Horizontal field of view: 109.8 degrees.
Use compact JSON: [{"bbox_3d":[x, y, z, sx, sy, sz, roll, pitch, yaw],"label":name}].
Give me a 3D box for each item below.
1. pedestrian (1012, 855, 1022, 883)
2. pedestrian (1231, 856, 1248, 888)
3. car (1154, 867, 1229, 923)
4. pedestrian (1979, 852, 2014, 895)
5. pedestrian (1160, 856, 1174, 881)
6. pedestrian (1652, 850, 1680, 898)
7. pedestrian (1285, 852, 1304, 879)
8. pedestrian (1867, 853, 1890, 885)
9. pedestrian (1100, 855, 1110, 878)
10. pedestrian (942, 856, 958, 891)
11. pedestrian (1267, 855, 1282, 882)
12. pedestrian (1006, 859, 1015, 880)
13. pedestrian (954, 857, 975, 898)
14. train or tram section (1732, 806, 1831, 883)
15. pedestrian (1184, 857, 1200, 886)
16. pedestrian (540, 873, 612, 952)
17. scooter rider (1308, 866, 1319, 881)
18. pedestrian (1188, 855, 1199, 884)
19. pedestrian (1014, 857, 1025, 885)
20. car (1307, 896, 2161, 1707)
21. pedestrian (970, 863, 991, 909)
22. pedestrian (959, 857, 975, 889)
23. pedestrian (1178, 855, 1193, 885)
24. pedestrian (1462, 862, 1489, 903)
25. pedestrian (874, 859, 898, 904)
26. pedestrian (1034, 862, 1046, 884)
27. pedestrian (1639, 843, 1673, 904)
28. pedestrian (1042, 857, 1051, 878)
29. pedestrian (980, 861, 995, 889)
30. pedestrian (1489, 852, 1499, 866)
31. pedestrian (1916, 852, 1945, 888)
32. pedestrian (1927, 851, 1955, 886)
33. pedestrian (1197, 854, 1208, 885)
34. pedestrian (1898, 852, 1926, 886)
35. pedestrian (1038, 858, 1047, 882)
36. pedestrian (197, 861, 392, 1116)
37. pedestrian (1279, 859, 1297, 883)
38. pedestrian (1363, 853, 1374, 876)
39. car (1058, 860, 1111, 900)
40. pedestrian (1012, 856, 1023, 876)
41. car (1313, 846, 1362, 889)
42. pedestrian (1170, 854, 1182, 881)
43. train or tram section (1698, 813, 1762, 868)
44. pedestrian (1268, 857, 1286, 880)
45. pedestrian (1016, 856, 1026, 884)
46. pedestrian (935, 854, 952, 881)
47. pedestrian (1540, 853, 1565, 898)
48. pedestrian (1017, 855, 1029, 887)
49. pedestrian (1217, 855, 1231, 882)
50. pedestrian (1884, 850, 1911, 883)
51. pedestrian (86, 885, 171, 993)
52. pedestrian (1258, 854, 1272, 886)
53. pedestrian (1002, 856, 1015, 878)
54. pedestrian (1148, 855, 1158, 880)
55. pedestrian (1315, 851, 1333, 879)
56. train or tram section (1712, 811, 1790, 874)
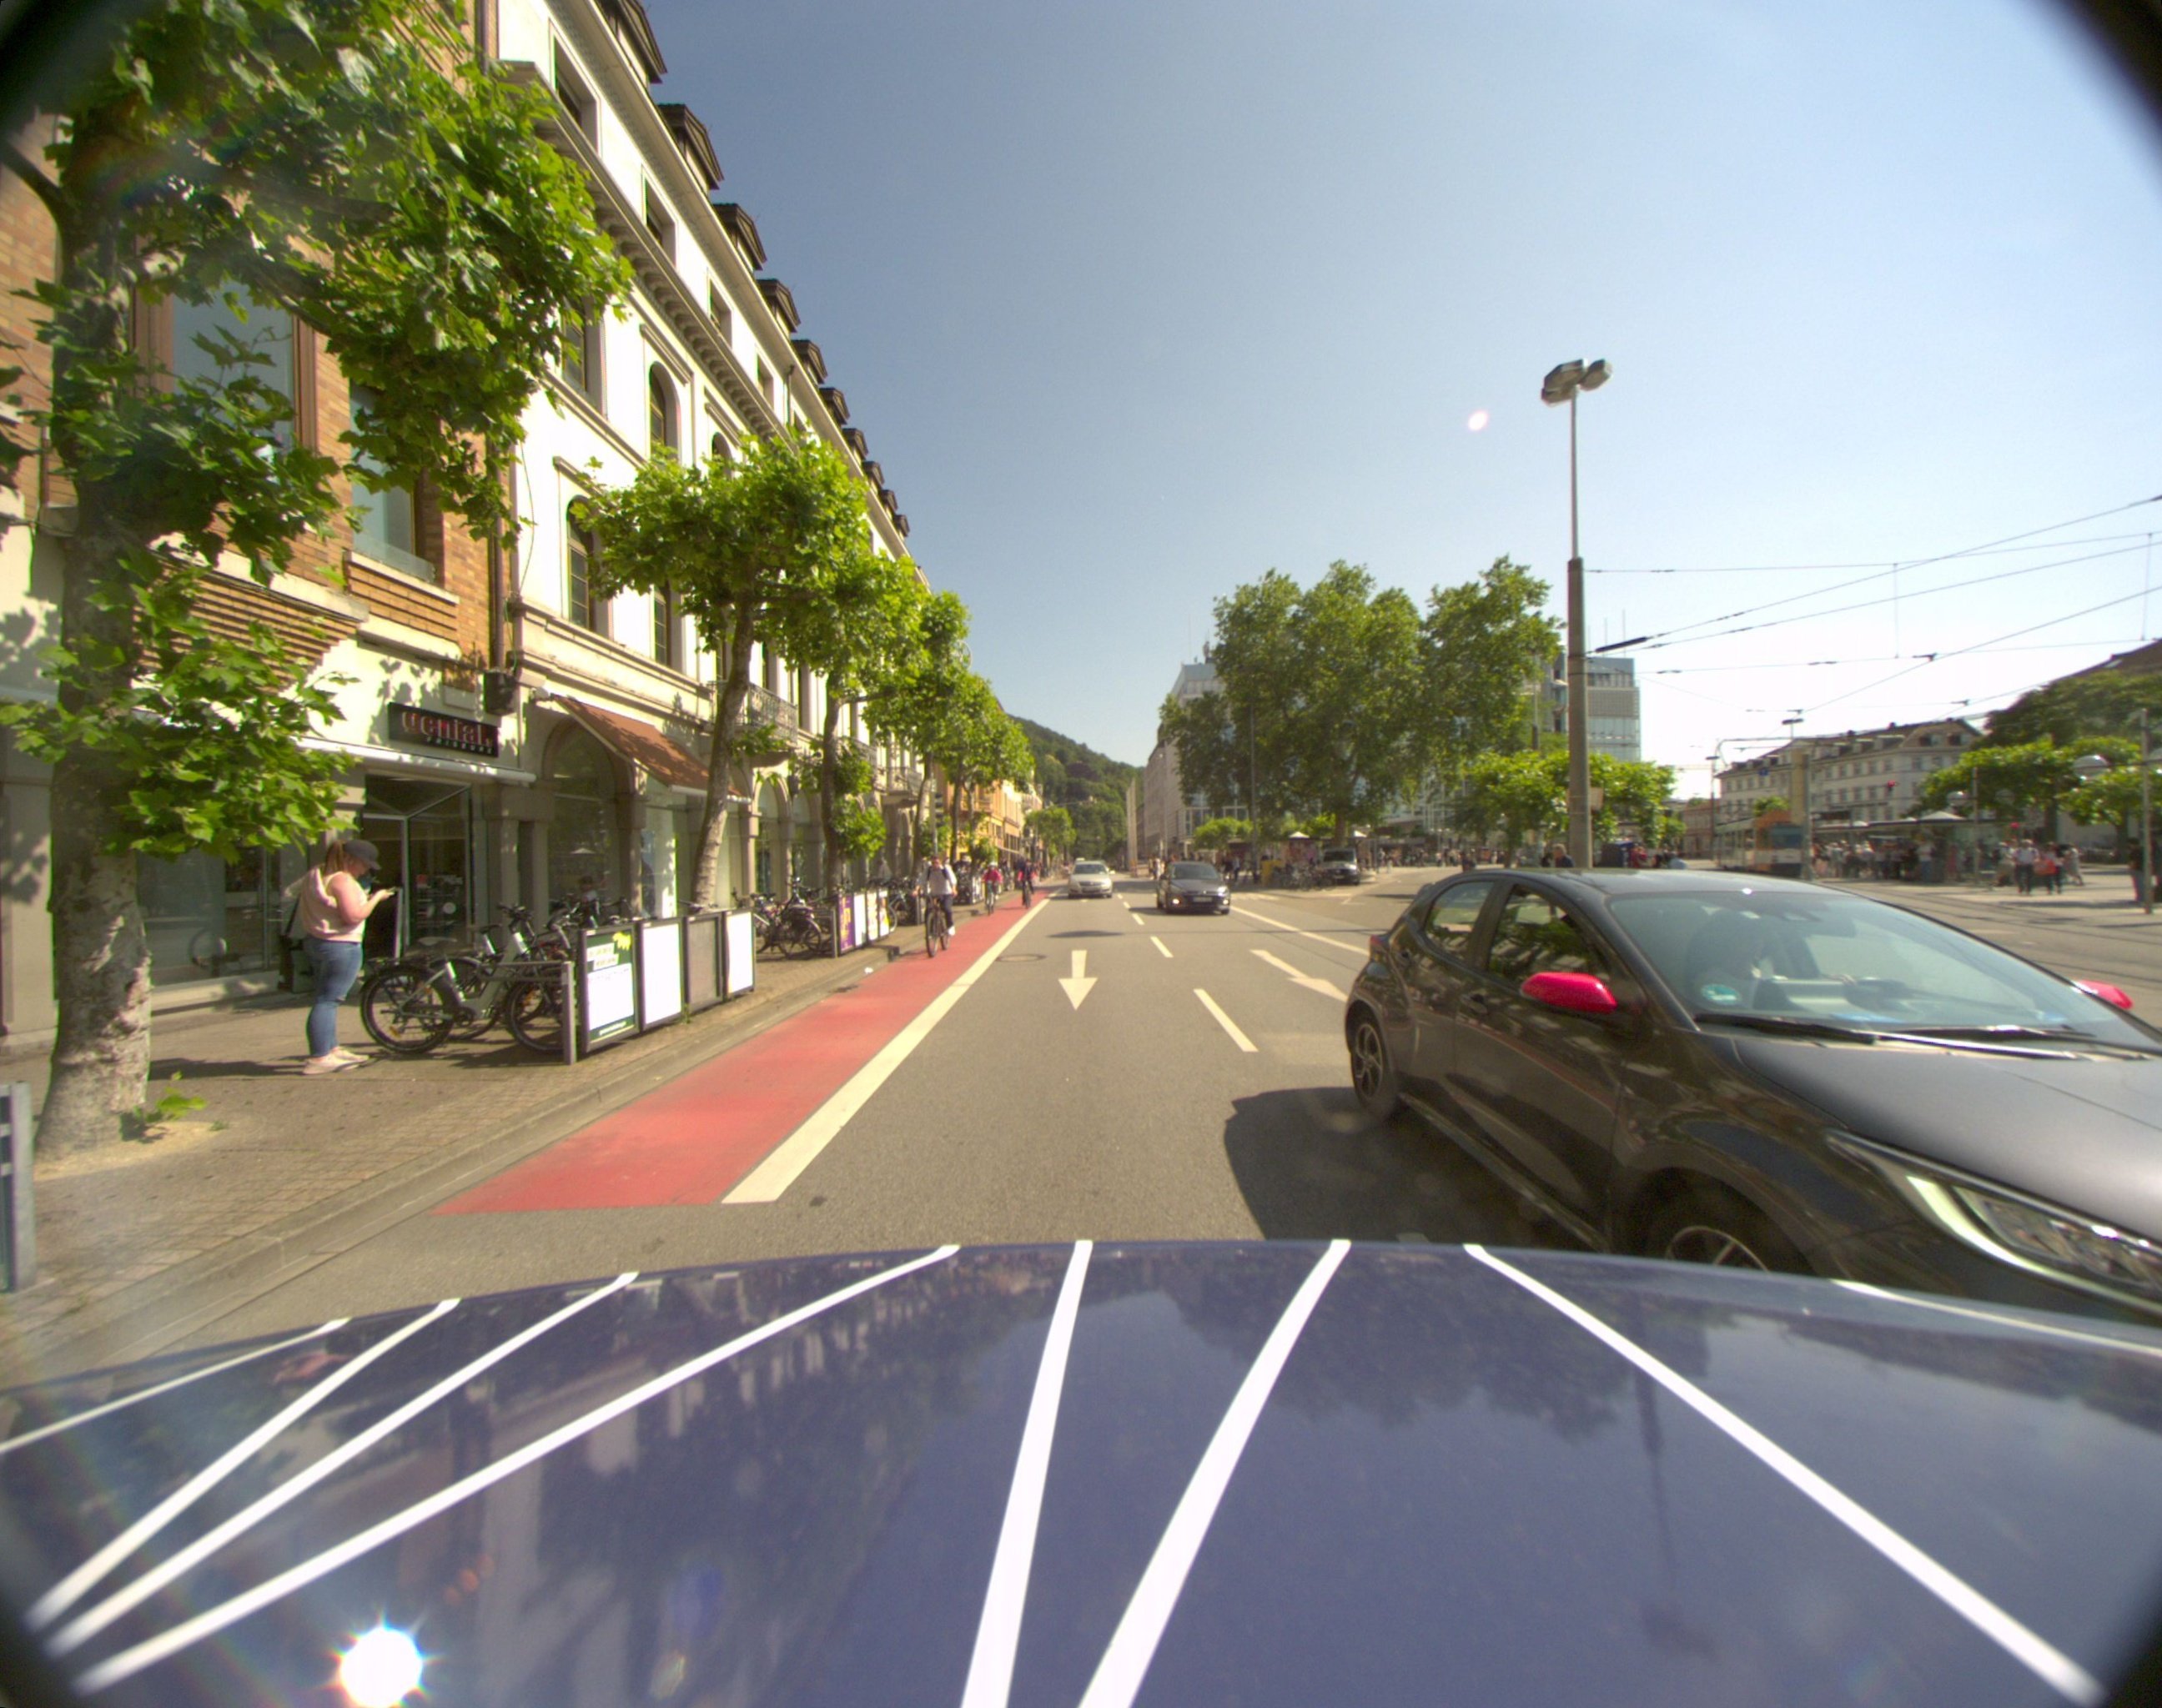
[{"bbox_3d":[-4.003,0.935,47.831,0.578,1.774,0.699,0,0,-3],"label":"pedestrian"},{"bbox_3d":[8.605,0.964,41.324,0.643,1.681,0.642,-3,0,-13],"label":"pedestrian"},{"bbox_3d":[3.107,1.124,22.075,1.699,1.396,4.000,0,0,1],"label":"car"},{"bbox_3d":[34.489,0.732,28.621,0.626,1.588,0.679,2,0,-22],"label":"pedestrian"},{"bbox_3d":[6.123,1.013,54.141,0.876,1.737,0.733,-3,0,-1],"label":"pedestrian"},{"bbox_3d":[22.642,0.768,29.395,0.577,1.805,0.605,1,0,0],"label":"pedestrian"},{"bbox_3d":[12.683,0.667,45.217,0.752,1.587,0.782,-3,0,-10],"label":"pedestrian"},{"bbox_3d":[38.823,0.744,36.996,0.681,1.540,0.577,2,-1,-26],"label":"pedestrian"},{"bbox_3d":[1.890,0.970,59.659,0.699,1.774,0.578,0,0,-5],"label":"pedestrian"},{"bbox_3d":[-6.710,0.997,38.994,0.635,1.782,0.776,-3,0,-1],"label":"pedestrian"},{"bbox_3d":[12.501,0.942,49.091,0.750,1.737,0.784,-3,0,27],"label":"pedestrian"},{"bbox_3d":[-5.603,1.246,60.476,0.578,1.650,0.621,-1,0,-11],"label":"pedestrian"},{"bbox_3d":[-4.461,0.905,29.132,0.606,1.529,0.667,-3,0,-1],"label":"pedestrian"},{"bbox_3d":[39.383,-0.568,43.036,2.615,3.805,9.537,-3,0,34],"label":"train or tram section"},{"bbox_3d":[6.461,1.028,44.229,0.630,1.639,0.753,-3,0,26],"label":"pedestrian"},{"bbox_3d":[-8.891,1.004,13.394,0.653,1.298,0.868,-2,0,42],"label":"pedestrian"},{"bbox_3d":[13.293,1.123,43.456,0.506,0.833,0.349,-3,0,34],"label":"scooter rider"},{"bbox_3d":[7.003,0.957,47.235,0.595,1.835,0.738,0,0,-1],"label":"pedestrian"},{"bbox_3d":[-3.742,1.011,46.414,0.578,1.674,0.622,-3,0,-3],"label":"pedestrian"},{"bbox_3d":[2.433,1.004,2.930,1.782,1.466,3.999,0,0,-2],"label":"car"},{"bbox_3d":[-4.283,1.362,32.346,0.702,1.891,0.776,-3,0,-1],"label":"pedestrian"},{"bbox_3d":[-6.463,1.065,43.217,0.721,1.772,0.776,-3,0,-1],"label":"pedestrian"},{"bbox_3d":[6.331,0.967,46.133,0.537,1.773,0.745,-3,0,35],"label":"pedestrian"},{"bbox_3d":[15.019,1.080,28.940,0.624,1.515,0.680,1,0,1],"label":"pedestrian"},{"bbox_3d":[-7.572,1.053,29.541,0.658,1.686,0.676,-3,0,2],"label":"pedestrian"},{"bbox_3d":[-2.913,1.325,53.821,0.672,1.488,0.637,-2,1,-14],"label":"pedestrian"},{"bbox_3d":[19.241,0.657,25.413,0.693,1.996,0.564,-1,1,-9],"label":"pedestrian"},{"bbox_3d":[-2.876,1.109,63.814,0.651,1.770,0.621,0,1,-14],"label":"pedestrian"},{"bbox_3d":[-5.400,1.226,43.720,0.517,1.574,0.584,-2,1,40],"label":"pedestrian"},{"bbox_3d":[44.069,0.583,81.087,0.555,1.464,0.758,-3,0,0],"label":"pedestrian"},{"bbox_3d":[36.904,0.704,33.000,0.579,1.540,0.679,2,-1,-23],"label":"pedestrian"},{"bbox_3d":[37.976,0.632,33.555,0.579,1.540,0.679,2,-1,-23],"label":"pedestrian"},{"bbox_3d":[7.170,0.901,44.867,0.517,1.825,0.716,-3,0,8],"label":"pedestrian"},{"bbox_3d":[37.217,0.670,34.037,0.579,1.540,0.679,2,-1,-23],"label":"pedestrian"},{"bbox_3d":[-3.001,1.224,59.395,0.578,1.863,0.680,2,0,-11],"label":"pedestrian"},{"bbox_3d":[-5.510,0.881,5.380,0.655,1.624,0.729,-3,0,-22],"label":"pedestrian"},{"bbox_3d":[12.565,1.018,46.075,0.752,1.416,0.673,-3,0,-10],"label":"pedestrian"},{"bbox_3d":[21.755,0.769,57.491,0.638,1.683,0.753,-3,0,23],"label":"pedestrian"},{"bbox_3d":[0.188,1.002,30.782,1.918,1.401,4.000,-3,0,1],"label":"car"},{"bbox_3d":[-5.816,1.107,69.217,0.860,1.782,0.757,-1,0,-11],"label":"pedestrian"},{"bbox_3d":[13.205,0.637,38.931,1.996,2.002,5.074,-3,0,22],"label":"car"},{"bbox_3d":[6.188,0.906,49.663,0.612,1.737,0.752,-2,0,-1],"label":"pedestrian"},{"bbox_3d":[50.040,-1.056,58.848,2.615,3.805,9.537,-3,0,34],"label":"train or tram section"},{"bbox_3d":[12.082,0.892,46.913,0.752,1.399,0.782,-3,0,-10],"label":"pedestrian"},{"bbox_3d":[-3.728,0.995,47.011,0.569,1.674,0.591,1,0,-3],"label":"pedestrian"},{"bbox_3d":[-8.586,0.863,47.461,0.798,1.638,0.622,-3,0,1],"label":"pedestrian"},{"bbox_3d":[18.946,0.864,30.549,0.626,1.783,0.678,2,-1,-41],"label":"pedestrian"},{"bbox_3d":[-3.351,0.978,44.129,0.578,1.835,0.717,-3,0,-3],"label":"pedestrian"},{"bbox_3d":[9.586,0.970,51.010,0.751,1.737,0.667,-3,0,-1],"label":"pedestrian"},{"bbox_3d":[38.952,0.590,36.245,0.579,1.540,0.679,2,-1,-23],"label":"pedestrian"},{"bbox_3d":[-12.884,1.135,10.287,0.414,1.379,0.525,-3,0,-4],"label":"pedestrian"},{"bbox_3d":[10.245,0.888,42.332,0.516,1.732,0.518,-3,0,-13],"label":"pedestrian"},{"bbox_3d":[-5.906,1.057,62.046,0.733,1.794,0.749,-1,0,20],"label":"pedestrian"},{"bbox_3d":[5.673,1.050,59.802,0.639,1.902,0.733,-3,0,-1],"label":"pedestrian"},{"bbox_3d":[15.615,0.706,48.900,0.752,1.737,0.782,-3,0,-10],"label":"pedestrian"},{"bbox_3d":[44.694,-0.811,50.949,2.615,3.805,9.537,-3,0,34],"label":"train or tram section"}]
